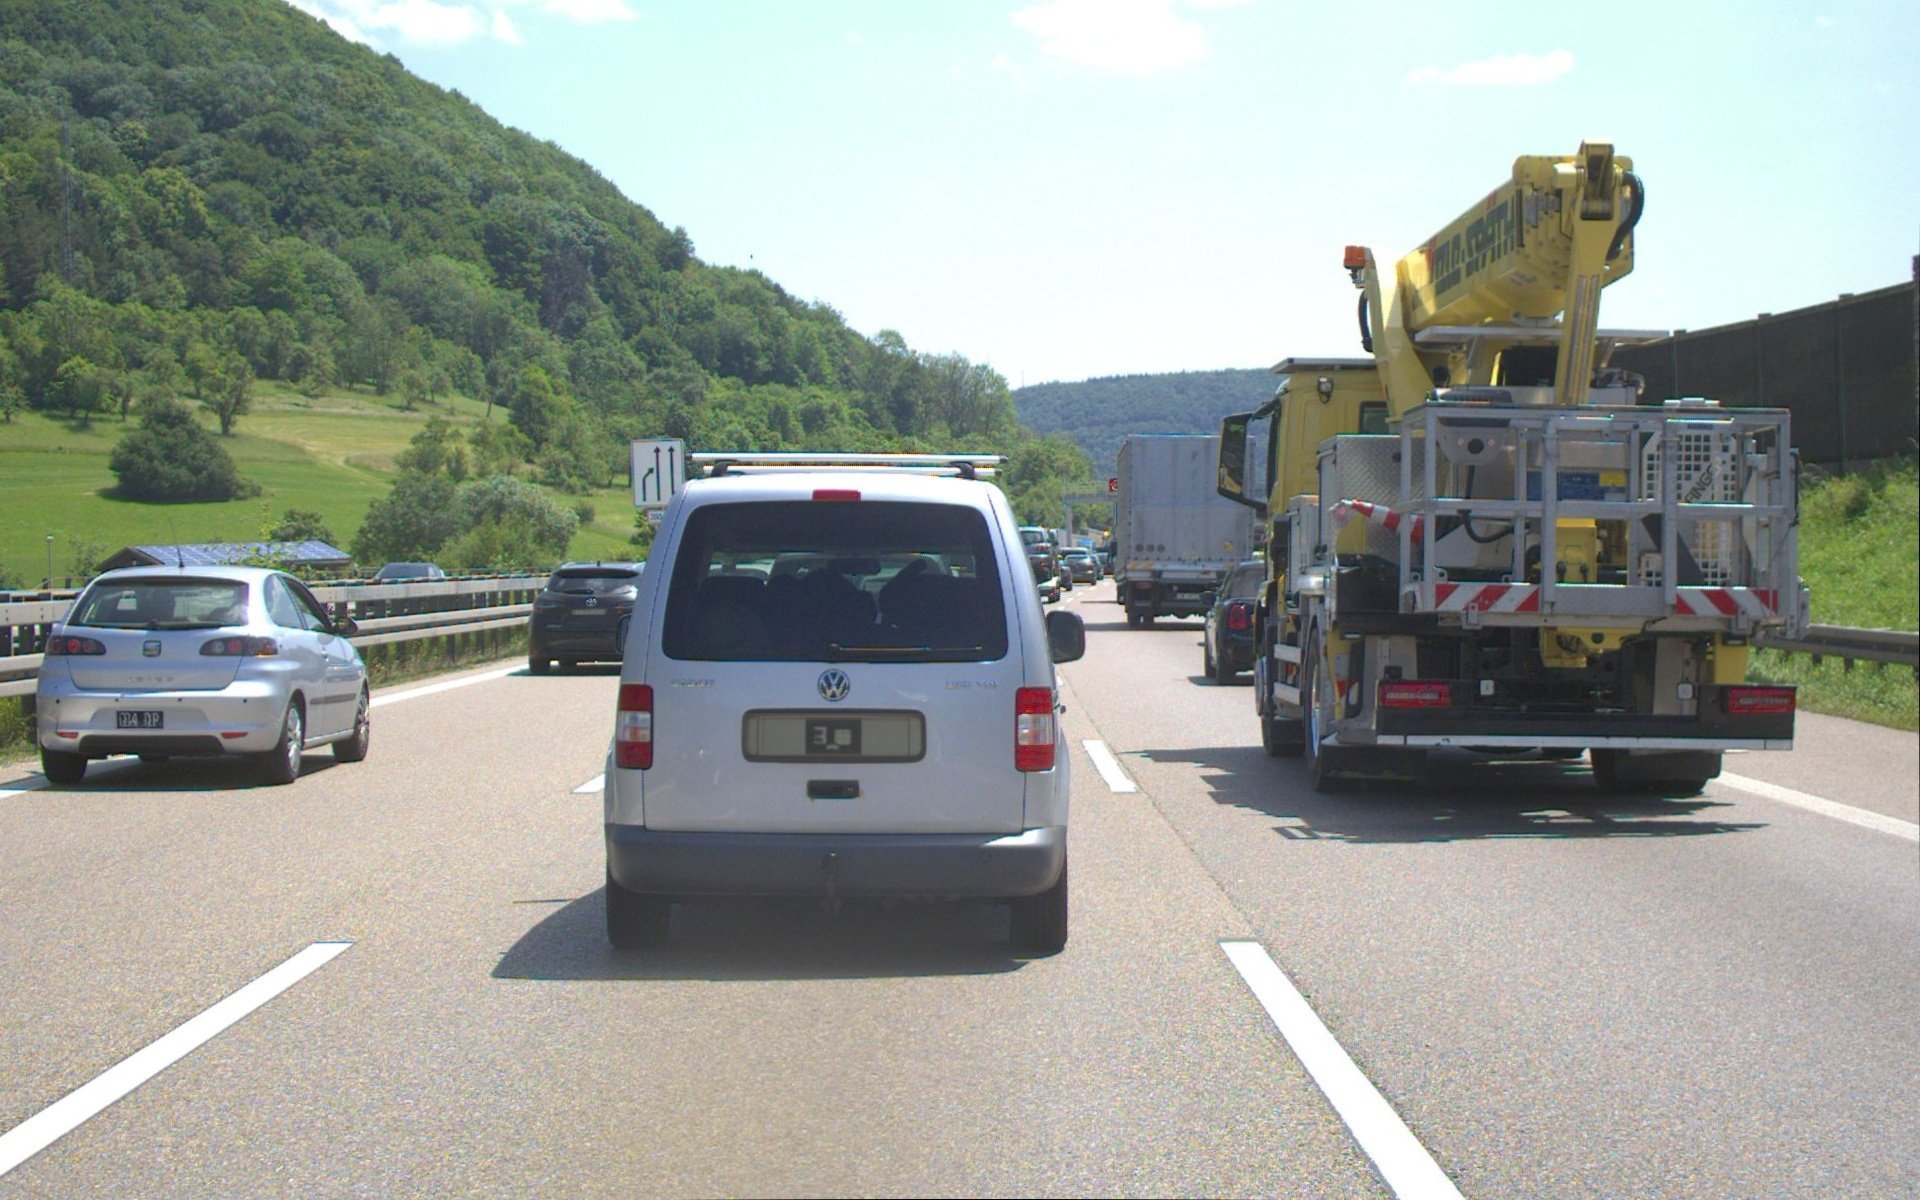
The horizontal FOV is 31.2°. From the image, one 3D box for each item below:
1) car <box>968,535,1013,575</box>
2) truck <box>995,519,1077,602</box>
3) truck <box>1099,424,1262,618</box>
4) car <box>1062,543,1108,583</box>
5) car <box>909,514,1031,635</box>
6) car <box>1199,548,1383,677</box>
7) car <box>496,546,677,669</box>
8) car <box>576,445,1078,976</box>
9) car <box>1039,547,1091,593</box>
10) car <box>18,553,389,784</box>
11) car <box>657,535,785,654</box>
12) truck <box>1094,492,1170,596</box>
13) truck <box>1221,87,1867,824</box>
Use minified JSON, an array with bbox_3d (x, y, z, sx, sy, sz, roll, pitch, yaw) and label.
[{"bbox_3d":[1.409,-2.071,157.973,1.993,1.799,4.000,1,0,1],"label":"car"},{"bbox_3d":[2.359,-1.255,108.415,2.390,2.532,5.940,0,1,-1],"label":"truck"},{"bbox_3d":[4.514,-1.590,72.046,2.940,3.810,8.236,1,0,1],"label":"truck"},{"bbox_3d":[5.740,-1.687,158.041,1.993,1.799,4.000,1,0,1],"label":"car"},{"bbox_3d":[0.147,-0.451,58.073,1.993,1.969,4.000,0,1,-1],"label":"car"},{"bbox_3d":[3.883,0.113,40.826,1.786,1.453,3.771,0,1,-1],"label":"car"},{"bbox_3d":[-4.769,0.066,44.396,1.925,1.494,4.000,1,1,-1],"label":"car"},{"bbox_3d":[-0.485,0.359,14.085,1.756,1.861,4.000,0,1,-1],"label":"car"},{"bbox_3d":[4.183,-1.198,137.568,1.993,1.799,4.000,1,0,1],"label":"car"},{"bbox_3d":[-5.080,0.406,23.562,1.695,1.440,3.862,0,1,0],"label":"car"},{"bbox_3d":[-4.186,-0.120,60.849,1.993,2.007,4.000,-1,1,-1],"label":"car"},{"bbox_3d":[5.509,-1.783,111.083,1.993,3.240,6.800,1,0,-1],"label":"truck"},{"bbox_3d":[3.454,-0.835,22.721,2.704,3.929,8.722,0,1,-1],"label":"truck"}]
